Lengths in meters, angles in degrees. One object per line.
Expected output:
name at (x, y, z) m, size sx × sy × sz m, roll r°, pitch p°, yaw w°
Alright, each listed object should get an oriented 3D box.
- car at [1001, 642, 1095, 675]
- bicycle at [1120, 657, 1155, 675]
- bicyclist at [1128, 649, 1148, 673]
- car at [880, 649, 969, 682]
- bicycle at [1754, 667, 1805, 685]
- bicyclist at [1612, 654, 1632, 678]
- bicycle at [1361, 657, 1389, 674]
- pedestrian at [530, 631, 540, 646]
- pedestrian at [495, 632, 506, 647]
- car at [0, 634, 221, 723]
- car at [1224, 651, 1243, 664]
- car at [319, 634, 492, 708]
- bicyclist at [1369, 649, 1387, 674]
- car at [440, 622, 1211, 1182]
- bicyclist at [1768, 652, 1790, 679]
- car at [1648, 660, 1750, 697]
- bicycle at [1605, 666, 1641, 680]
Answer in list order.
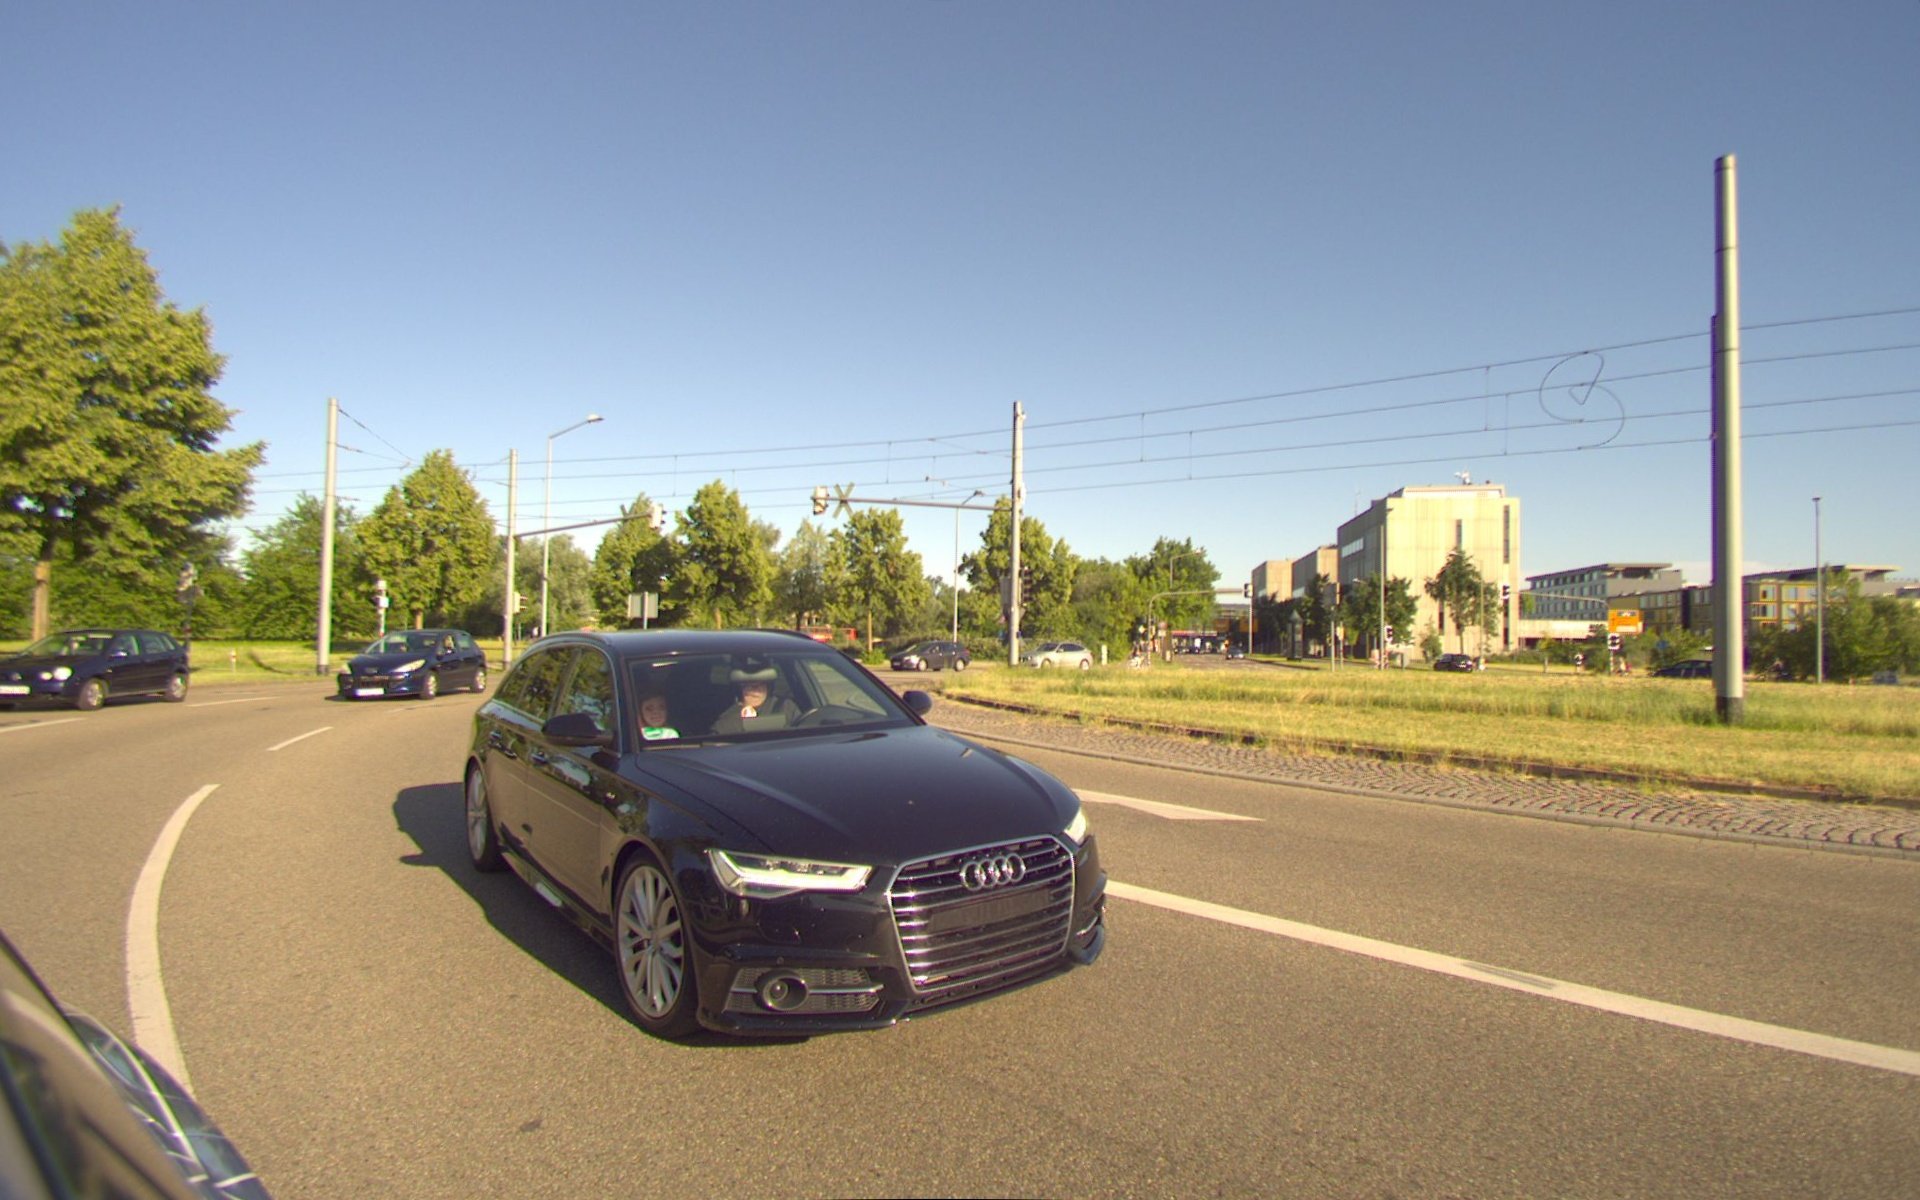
car at (4.250, 2.786, 48.681) m, size 4.466 × 1.390 × 1.940 m, roll 0°, pitch -3°, yaw -41°
bicycle at (12.309, 4.558, 70.199) m, size 2.180 × 1.164 × 0.878 m, roll 2°, pitch -2°, yaw -12°
bicyclist at (12.337, 4.227, 70.220) m, size 1.070 × 1.574 × 0.878 m, roll 2°, pitch -2°, yaw -12°
car at (-1.671, 3.127, 48.406) m, size 4.005 × 1.390 × 1.727 m, roll 0°, pitch -3°, yaw -40°
bicycle at (49.344, 4.568, 60.982) m, size 0.651 × 0.995 × 2.268 m, roll 2°, pitch -3°, yaw -36°
bicyclist at (43.446, 4.341, 66.459) m, size 0.917 × 1.529 × 0.614 m, roll -1°, pitch -3°, yaw 18°
bicycle at (28.496, 4.478, 69.471) m, size 1.633 × 1.137 × 0.704 m, roll 0°, pitch -2°, yaw 2°
pedestrian at (-42.852, 3.911, 102.036) m, size 0.651 × 1.451 × 0.795 m, roll 1°, pitch -3°, yaw -5°
pedestrian at (-46.322, 4.001, 102.006) m, size 0.676 × 1.451 × 0.795 m, roll 1°, pitch -3°, yaw -5°
car at (-16.239, 1.408, 19.131) m, size 1.612 × 1.479 × 4.552 m, roll 0°, pitch -2°, yaw -7°
car at (33.085, 6.943, 122.568) m, size 1.937 × 1.627 × 3.904 m, roll 0°, pitch -3°, yaw 11°
car at (-11.937, 1.488, 22.116) m, size 1.732 × 1.465 × 4.002 m, roll 0°, pitch -2°, yaw -3°
bicyclist at (28.693, 4.206, 69.484) m, size 0.930 × 1.676 × 0.704 m, roll 0°, pitch -2°, yaw 2°
car at (-1.279, 0.885, 5.228) m, size 1.769 × 1.454 × 5.029 m, roll 1°, pitch -2°, yaw -36°
bicyclist at (49.334, 3.964, 60.985) m, size 0.651 × 1.592 × 0.837 m, roll 2°, pitch -4°, yaw -36°
car at (38.173, 4.023, 52.383) m, size 1.745 × 1.799 × 3.929 m, roll 1°, pitch -3°, yaw -17°
bicycle at (43.493, 4.808, 66.422) m, size 1.873 × 0.859 × 0.613 m, roll 0°, pitch -3°, yaw 18°
